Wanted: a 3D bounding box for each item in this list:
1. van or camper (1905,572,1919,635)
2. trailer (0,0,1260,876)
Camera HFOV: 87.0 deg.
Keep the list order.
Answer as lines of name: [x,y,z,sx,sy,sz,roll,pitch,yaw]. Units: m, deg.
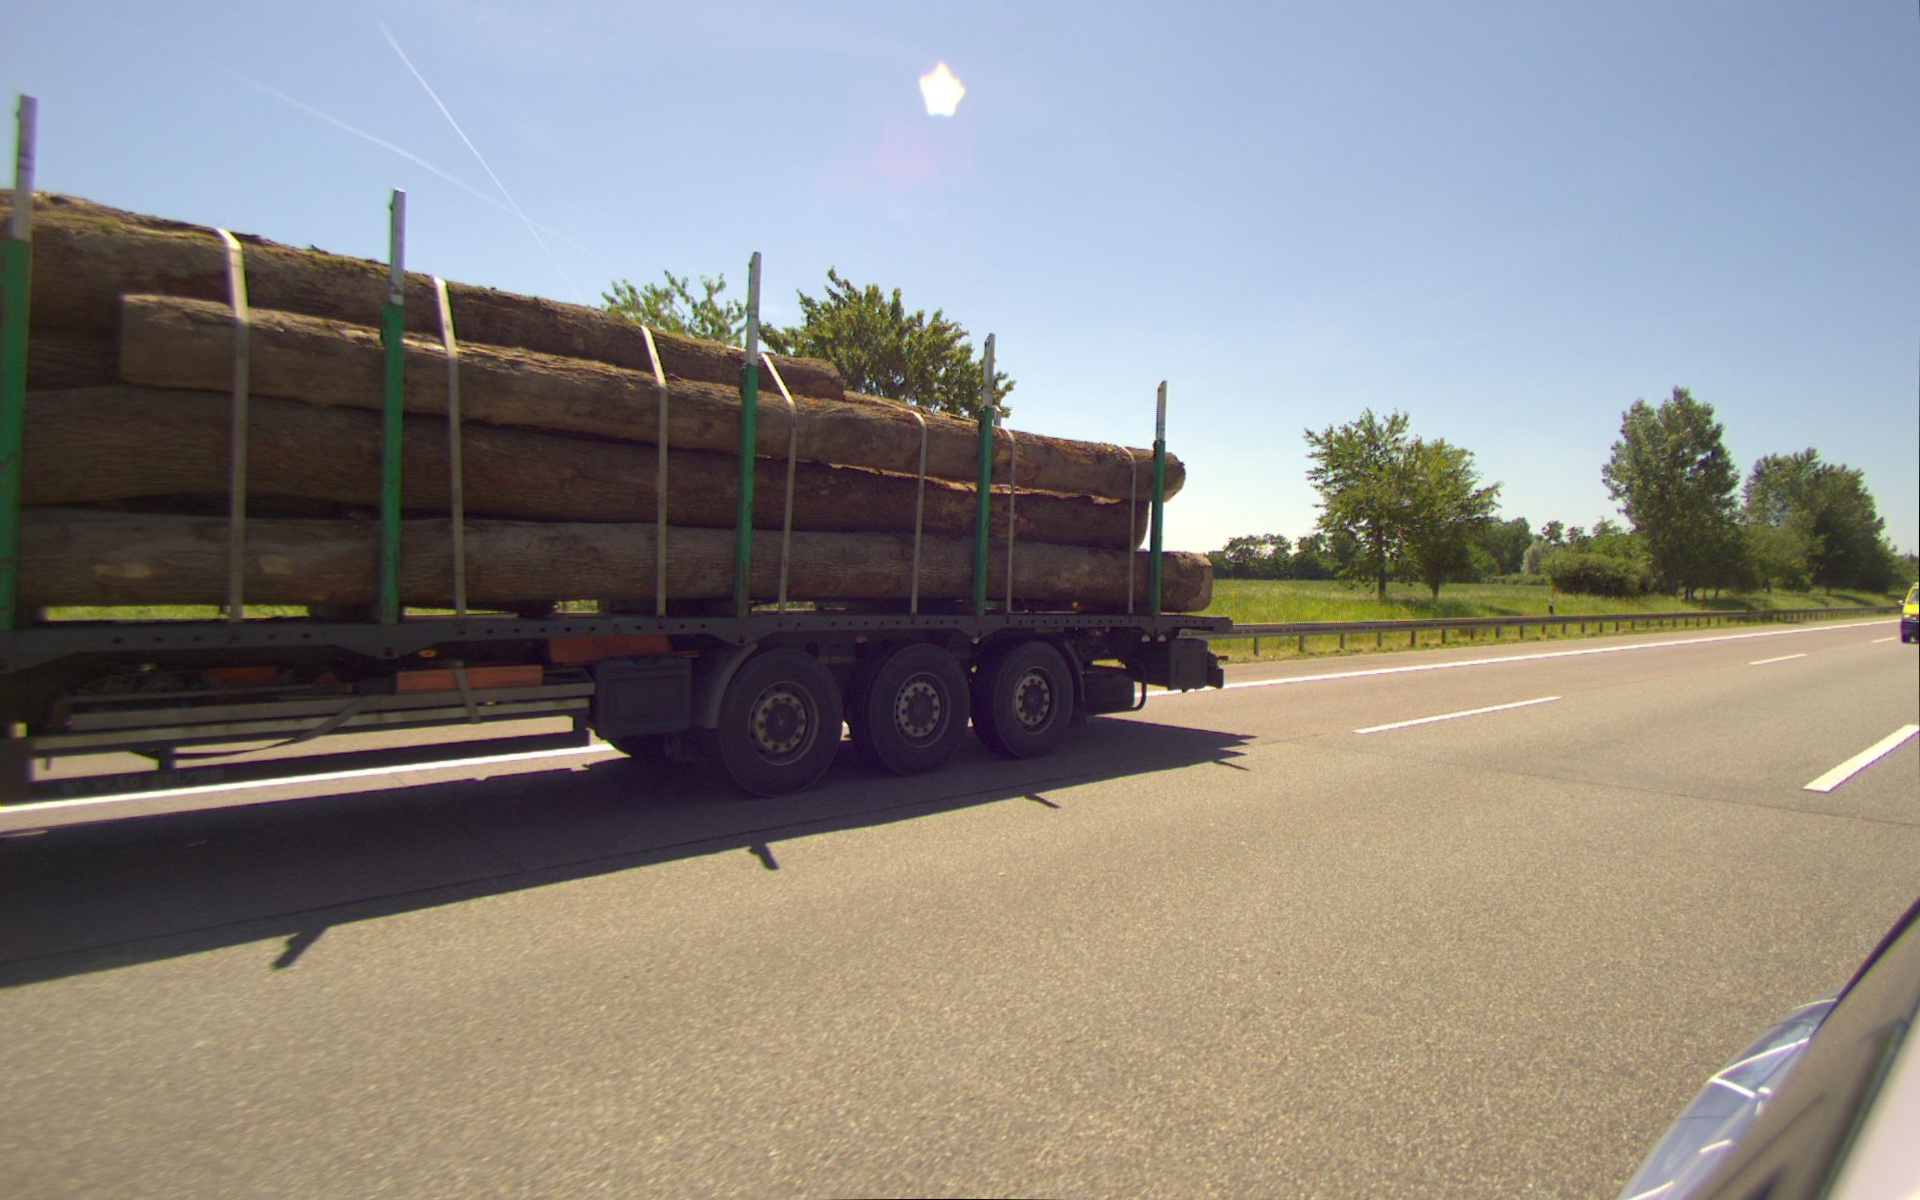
van or camper: [33.563,0.133,33.984,5.780,2.029,2.062,0,1,-41]
trailer: [-2.746,-0.810,7.376,13.396,4.009,2.658,0,0,-41]
